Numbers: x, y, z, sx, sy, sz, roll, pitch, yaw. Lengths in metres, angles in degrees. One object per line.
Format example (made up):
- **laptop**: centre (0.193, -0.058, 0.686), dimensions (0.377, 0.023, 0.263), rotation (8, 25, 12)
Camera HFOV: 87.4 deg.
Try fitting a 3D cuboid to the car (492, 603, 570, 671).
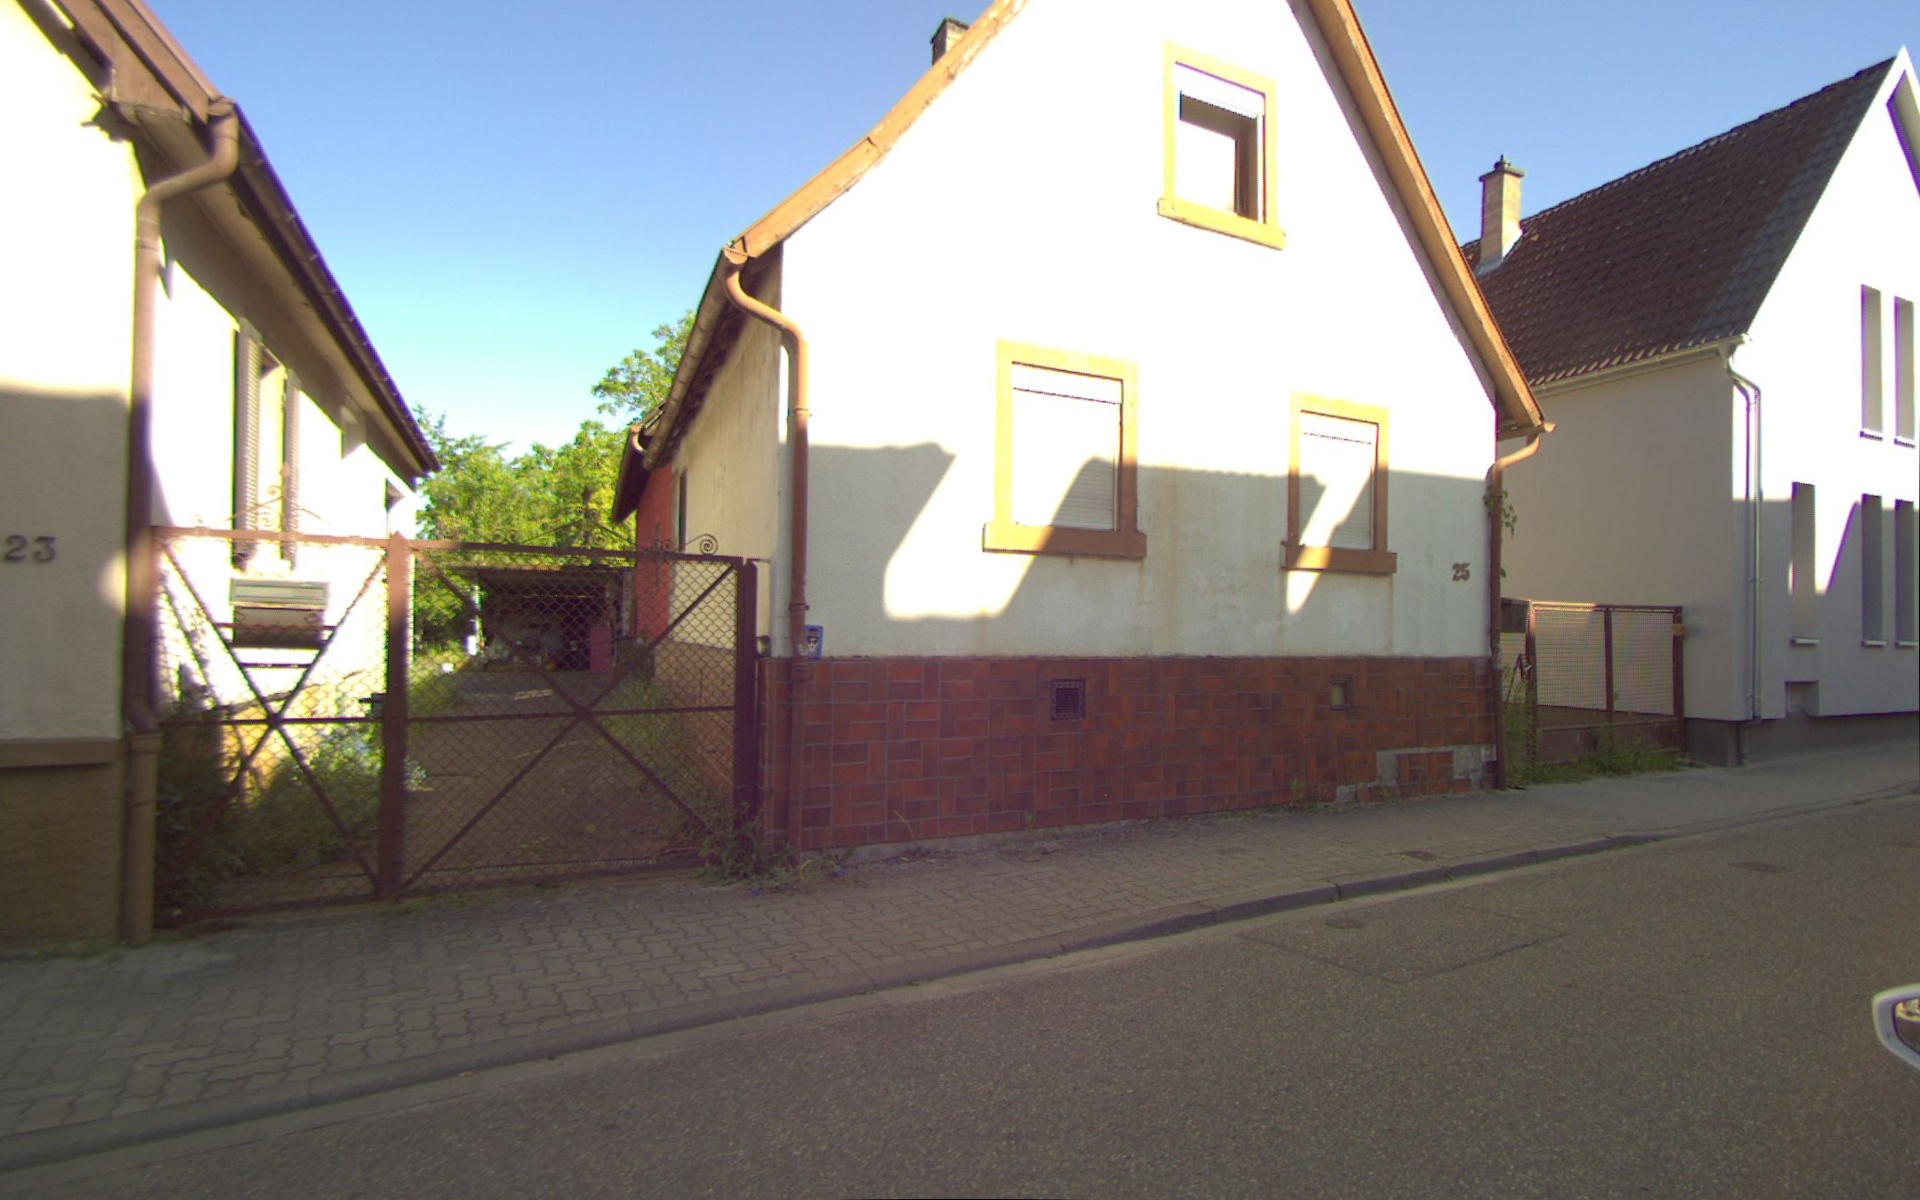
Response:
- **car**: centre (-11.185, 0.919, 26.369), dimensions (1.685, 1.518, 3.980), rotation (2, 0, -21)
